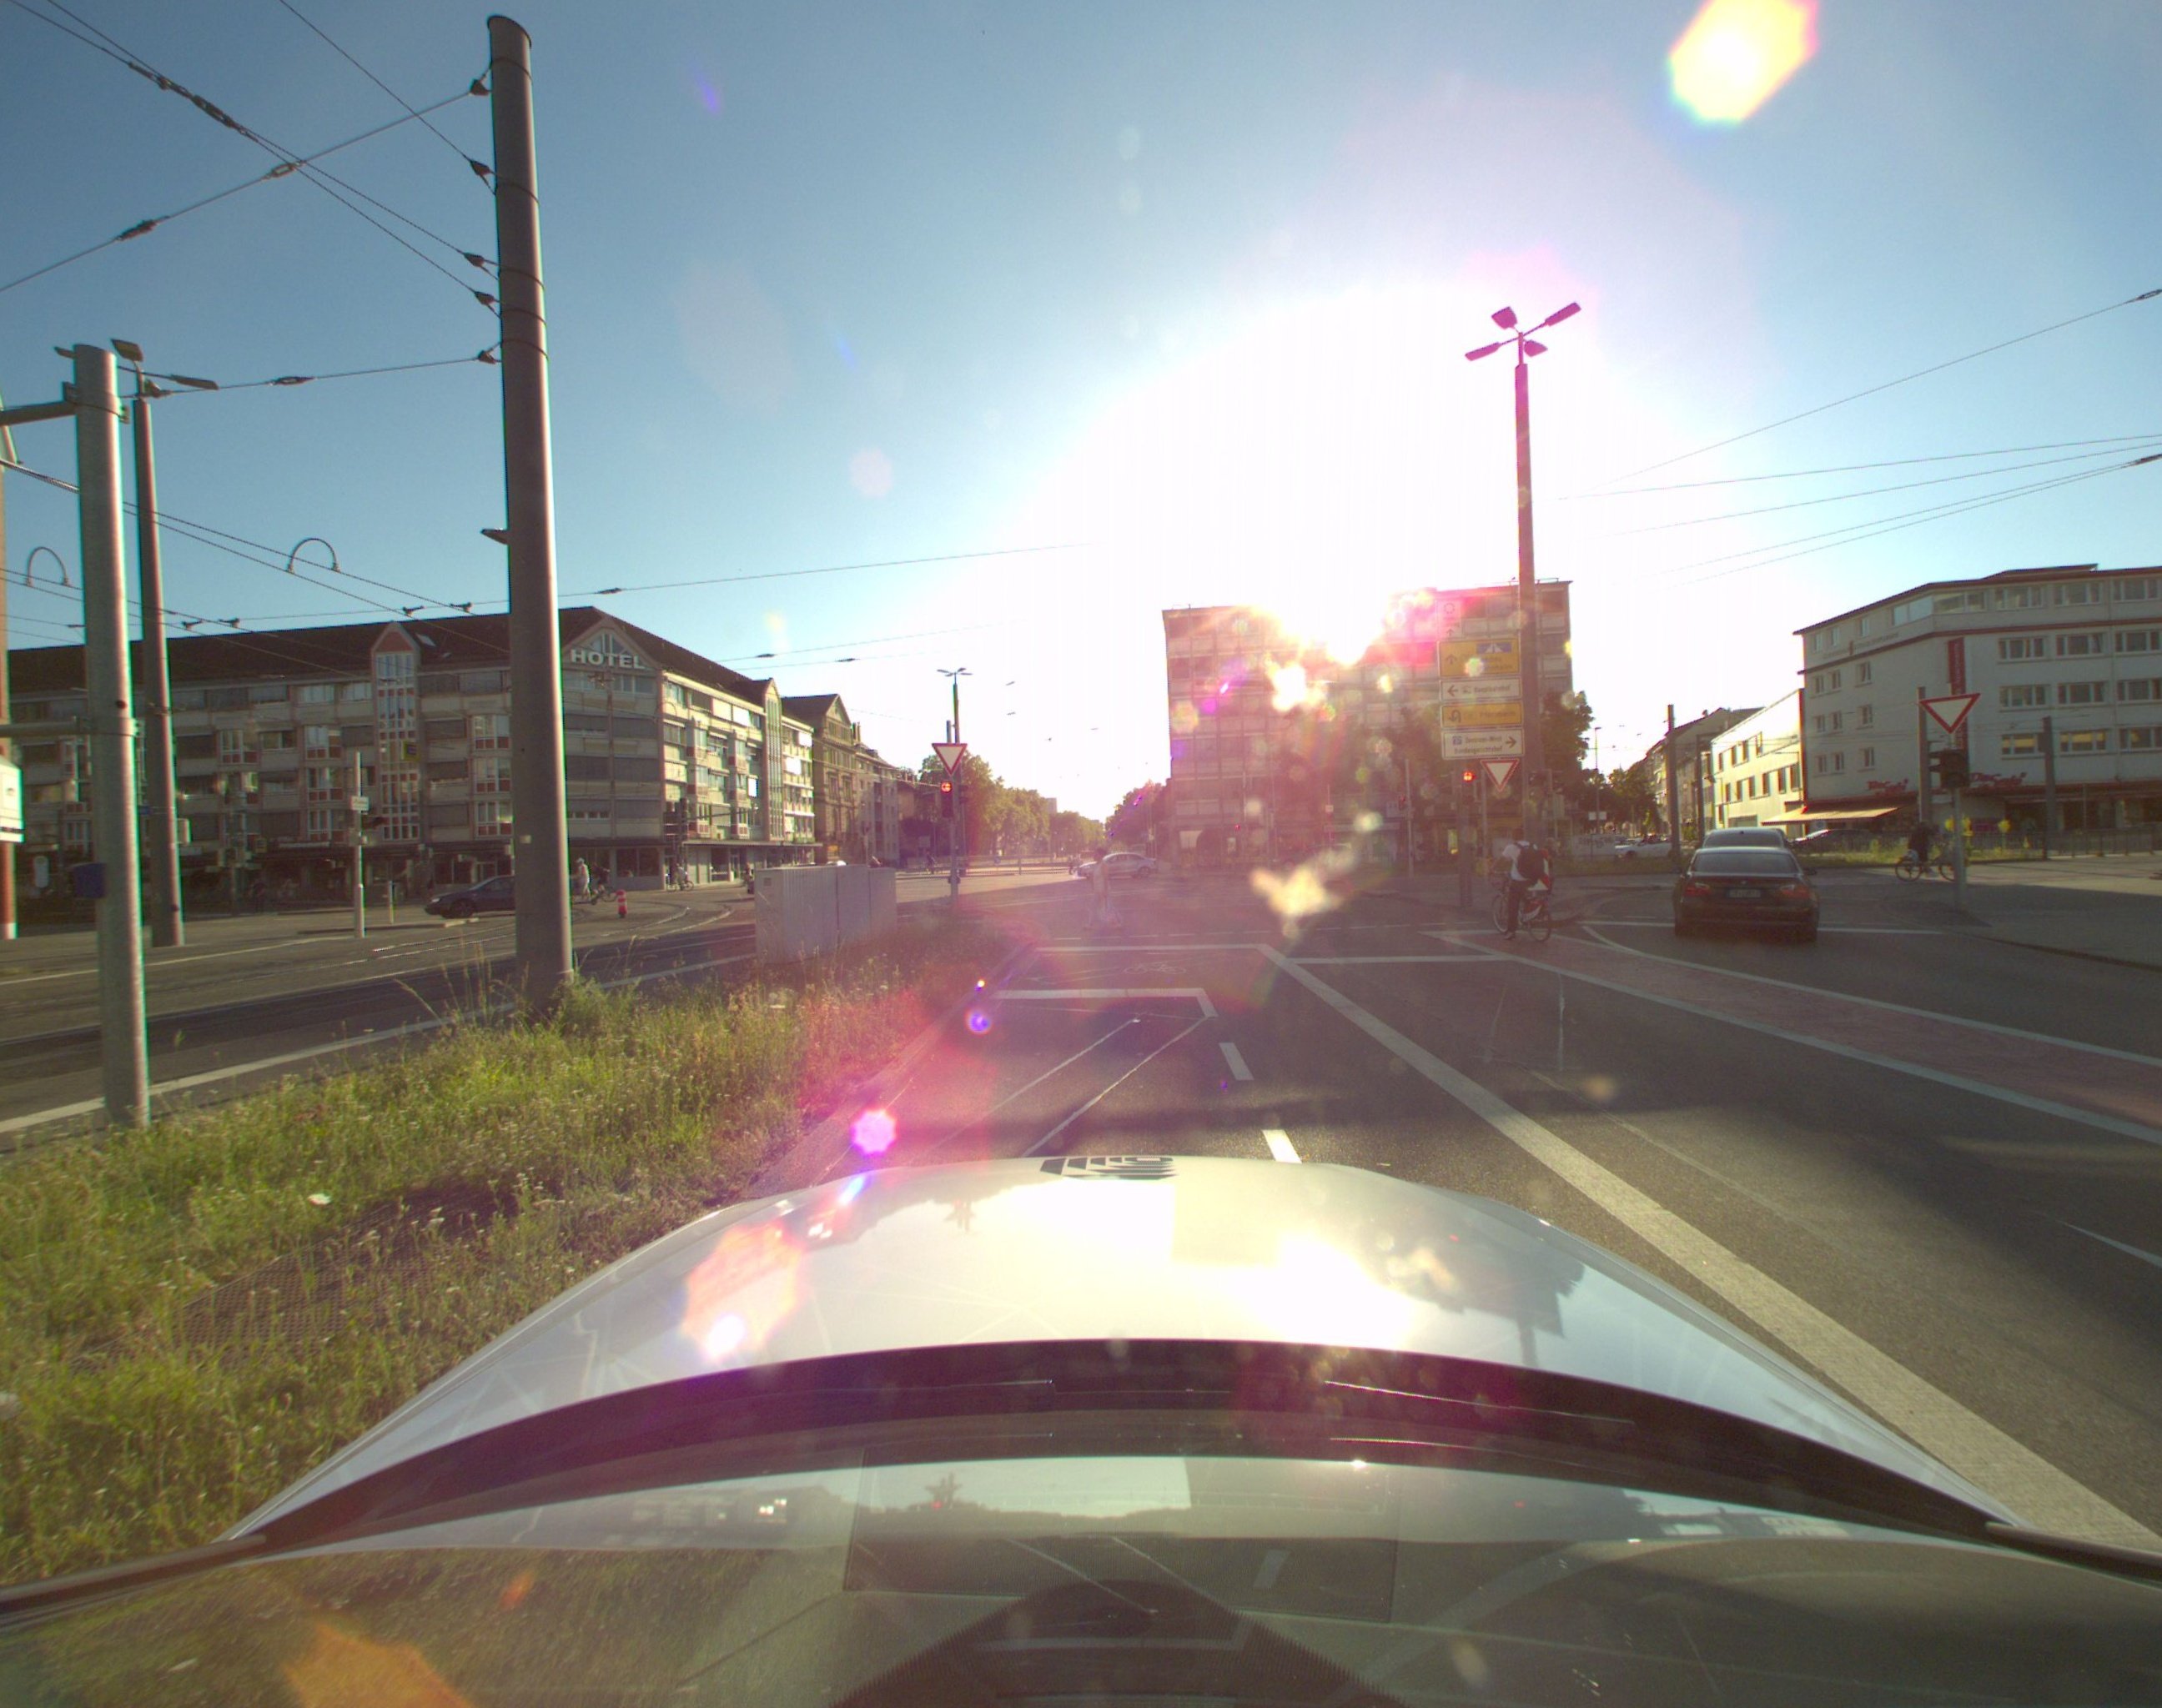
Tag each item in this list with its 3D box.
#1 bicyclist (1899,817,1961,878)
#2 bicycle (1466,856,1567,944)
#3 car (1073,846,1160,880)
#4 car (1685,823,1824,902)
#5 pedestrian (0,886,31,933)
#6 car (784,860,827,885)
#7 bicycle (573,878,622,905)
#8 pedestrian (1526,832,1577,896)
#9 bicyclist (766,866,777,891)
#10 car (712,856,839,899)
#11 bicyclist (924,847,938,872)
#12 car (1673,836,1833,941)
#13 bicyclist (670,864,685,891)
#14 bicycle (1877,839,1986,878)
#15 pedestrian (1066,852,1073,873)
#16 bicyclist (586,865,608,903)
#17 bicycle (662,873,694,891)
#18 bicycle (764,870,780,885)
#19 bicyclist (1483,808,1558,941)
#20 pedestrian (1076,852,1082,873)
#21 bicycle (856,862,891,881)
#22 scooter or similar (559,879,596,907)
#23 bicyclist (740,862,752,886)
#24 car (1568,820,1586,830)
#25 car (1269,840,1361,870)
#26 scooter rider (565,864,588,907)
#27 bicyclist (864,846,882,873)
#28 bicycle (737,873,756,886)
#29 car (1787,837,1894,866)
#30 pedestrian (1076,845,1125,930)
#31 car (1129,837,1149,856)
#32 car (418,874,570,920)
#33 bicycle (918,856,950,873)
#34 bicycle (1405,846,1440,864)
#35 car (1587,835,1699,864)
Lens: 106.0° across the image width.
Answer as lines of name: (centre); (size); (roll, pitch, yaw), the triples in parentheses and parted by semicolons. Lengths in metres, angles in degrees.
bicyclist: (24.072, -0.187, 23.100); (0.954, 1.661, 0.692); (-2, 0, 6)
bicycle: (6.916, 0.687, 13.049); (0.642, 1.223, 2.051); (0, 2, 4)
car: (1.918, 0.471, 44.791); (4.338, 1.596, 1.990); (-3, 0, -14)
car: (16.187, 0.125, 19.504); (4.022, 1.693, 1.976); (-2, 2, -41)
pedestrian: (-46.920, 2.426, 35.743); (0.711, 2.013, 0.724); (-2, 0, 6)
car: (-23.341, 1.543, 69.158); (1.984, 1.859, 4.006); (-3, 0, 5)
bicycle: (-21.937, 1.689, 36.954); (0.528, 1.072, 1.793); (-3, 0, 40)
pedestrian: (12.286, 0.261, 21.277); (0.875, 1.597, 0.655); (-2, 0, 0)
bicyclist: (-25.623, 2.051, 67.439); (0.601, 2.013, 0.779); (-2, 0, -1)
car: (-13.389, 0.995, 35.840); (4.803, 1.596, 1.977); (-3, 0, -38)
bicyclist: (-11.134, 0.403, 60.442); (0.896, 1.752, 0.650); (-3, 0, -1)
car: (10.780, 0.458, 13.286); (1.726, 1.426, 4.026); (-2, 0, 37)
bicyclist: (-26.086, 1.490, 52.599); (0.663, 1.712, 0.537); (-3, 0, -7)
bicycle: (24.090, 0.132, 23.099); (2.215, 1.026, 0.683); (-2, 0, 6)
pedestrian: (-0.802, 0.600, 57.836); (0.365, 1.508, 0.542); (-3, 0, -4)
bicyclist: (-21.961, 1.361, 36.933); (0.531, 1.712, 0.670); (-3, 0, 40)
bicycle: (-26.048, 1.823, 52.596); (1.730, 1.059, 0.538); (-3, 0, -8)
bicycle: (-25.616, 1.934, 67.520); (0.606, 1.201, 1.966); (-2, 0, -1)
bicyclist: (6.911, 0.291, 12.855); (0.641, 2.013, 1.068); (0, 1, 3)
pedestrian: (-0.125, 0.599, 58.976); (0.365, 1.508, 0.542); (-3, 0, -4)
bicycle: (-13.574, 1.159, 53.306); (2.088, 1.137, 0.658); (-3, 0, -2)
scooter or similar: (-20.844, 1.620, 33.731); (1.177, 1.072, 0.526); (-3, 0, -23)
bicyclist: (-26.613, 1.549, 64.695); (0.590, 1.862, 0.643); (-3, 0, 4)
car: (72.054, -4.233, 118.368); (1.974, 1.398, 4.025); (-3, 0, 29)
car: (13.277, 0.057, 46.486); (4.885, 1.479, 2.007); (-2, 0, 13)
scooter rider: (-20.876, 1.295, 33.726); (0.666, 1.712, 0.522); (-2, 0, -22)
bicyclist: (-13.606, 0.367, 53.308); (0.896, 1.752, 0.654); (-3, 0, -2)
bicycle: (-26.582, 2.012, 64.742); (0.595, 0.915, 1.838); (-3, 0, 4)
car: (42.409, -0.133, 45.536); (3.967, 1.420, 2.003); (-2, 0, 5)
pedestrian: (0.391, 0.647, 15.967); (0.875, 1.597, 0.656); (-2, 0, 2)
car: (7.871, -0.988, 110.690); (2.476, 2.392, 5.938); (-4, 0, 2)
car: (-20.683, 1.475, 28.815); (1.823, 1.288, 4.025); (-2, 0, 41)
bicycle: (-10.908, 0.784, 60.452); (2.168, 1.137, 0.658); (-3, 0, -2)
bicycle: (21.962, 0.060, 52.424); (1.967, 1.098, 0.677); (-2, 0, -2)
car: (31.668, -0.249, 45.983); (4.903, 1.479, 2.000); (-2, 0, 0)
